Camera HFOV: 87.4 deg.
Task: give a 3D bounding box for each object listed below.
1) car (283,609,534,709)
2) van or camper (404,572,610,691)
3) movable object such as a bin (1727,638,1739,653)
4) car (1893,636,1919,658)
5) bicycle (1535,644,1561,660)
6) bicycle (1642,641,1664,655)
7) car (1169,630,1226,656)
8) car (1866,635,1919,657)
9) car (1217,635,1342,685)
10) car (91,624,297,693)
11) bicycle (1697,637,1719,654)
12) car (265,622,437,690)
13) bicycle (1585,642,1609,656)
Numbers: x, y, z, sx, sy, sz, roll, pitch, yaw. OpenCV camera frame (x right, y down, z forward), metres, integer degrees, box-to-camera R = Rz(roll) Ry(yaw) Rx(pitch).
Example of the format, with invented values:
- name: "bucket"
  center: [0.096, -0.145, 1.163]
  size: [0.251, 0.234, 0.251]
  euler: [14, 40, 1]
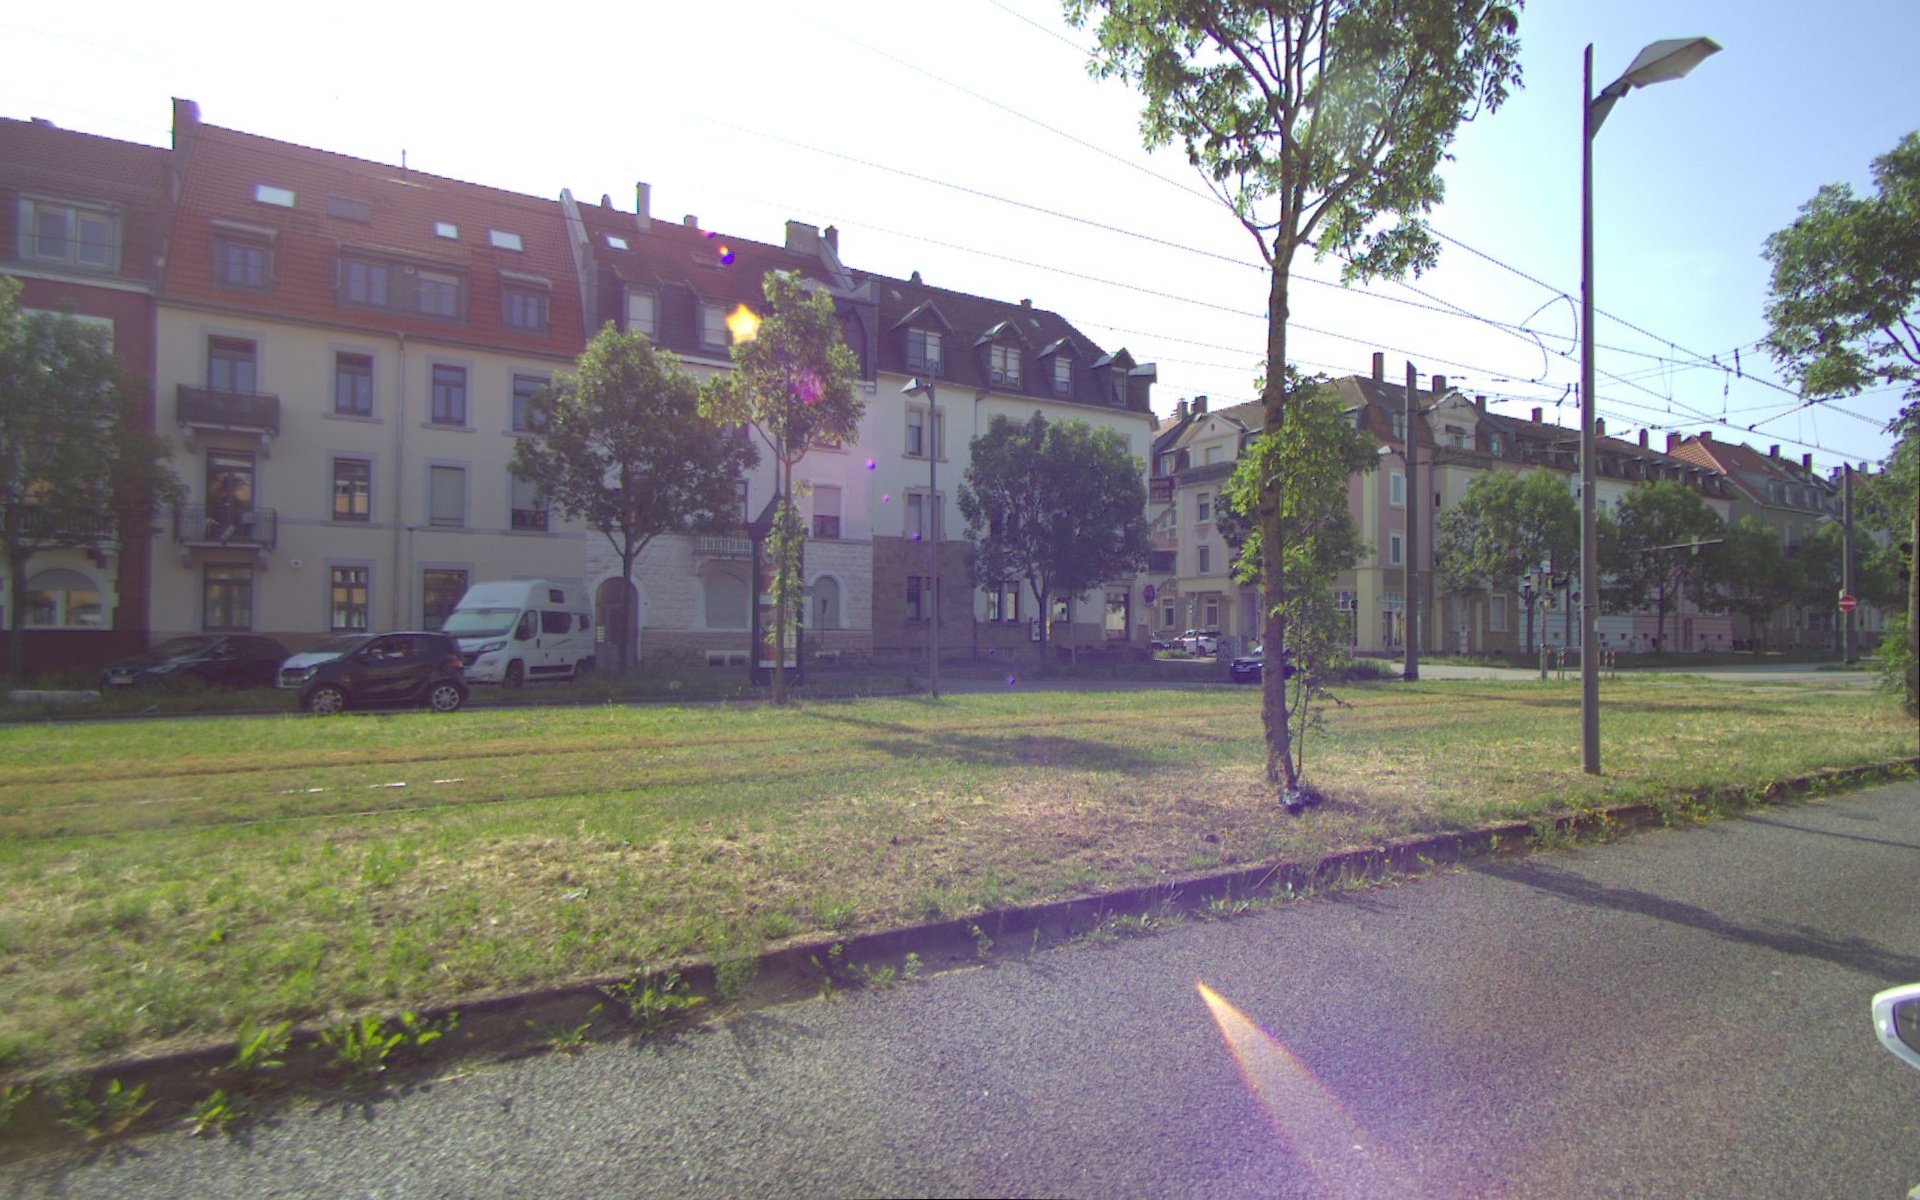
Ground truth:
- name: "car"
  center: [-10.313, 1.090, 19.035]
  size: [3.952, 1.677, 1.756]
  euler: [2, 0, -29]
- name: "van or camper"
  center: [-11.275, 0.711, 25.649]
  size: [2.155, 2.608, 5.928]
  euler: [2, 0, 4]
- name: "movable object such as a bin"
  center: [65.124, 3.831, 84.601]
  size: [0.633, 1.227, 0.582]
  euler: [2, 0, -32]
- name: "car"
  center: [79.283, 3.895, 83.097]
  size: [4.105, 1.650, 1.882]
  euler: [2, 0, -29]
- name: "bicycle"
  center: [34.312, 3.022, 58.652]
  size: [1.926, 0.900, 0.465]
  euler: [2, 0, -33]
- name: "bicycle"
  center: [45.139, 3.150, 65.395]
  size: [1.926, 0.868, 0.445]
  euler: [2, 0, -33]
- name: "car"
  center: [15.064, 2.720, 63.873]
  size: [1.553, 1.481, 3.378]
  euler: [2, 0, -32]
- name: "car"
  center: [74.448, 3.661, 80.132]
  size: [4.723, 1.650, 1.982]
  euler: [2, 0, -33]
- name: "car"
  center: [10.460, 1.952, 32.855]
  size: [3.882, 1.452, 1.802]
  euler: [2, 0, -32]
- name: "car"
  center: [-16.757, 1.233, 22.221]
  size: [1.629, 1.258, 3.687]
  euler: [2, 0, 1]
- name: "bicycle"
  center: [51.648, 3.163, 69.347]
  size: [1.926, 1.143, 0.600]
  euler: [2, 0, -33]
- name: "car"
  center: [-14.250, 1.256, 23.755]
  size: [1.629, 1.349, 3.688]
  euler: [2, 0, 4]
- name: "bicycle"
  center: [39.354, 3.036, 62.034]
  size: [1.926, 0.799, 0.435]
  euler: [2, 0, -33]
